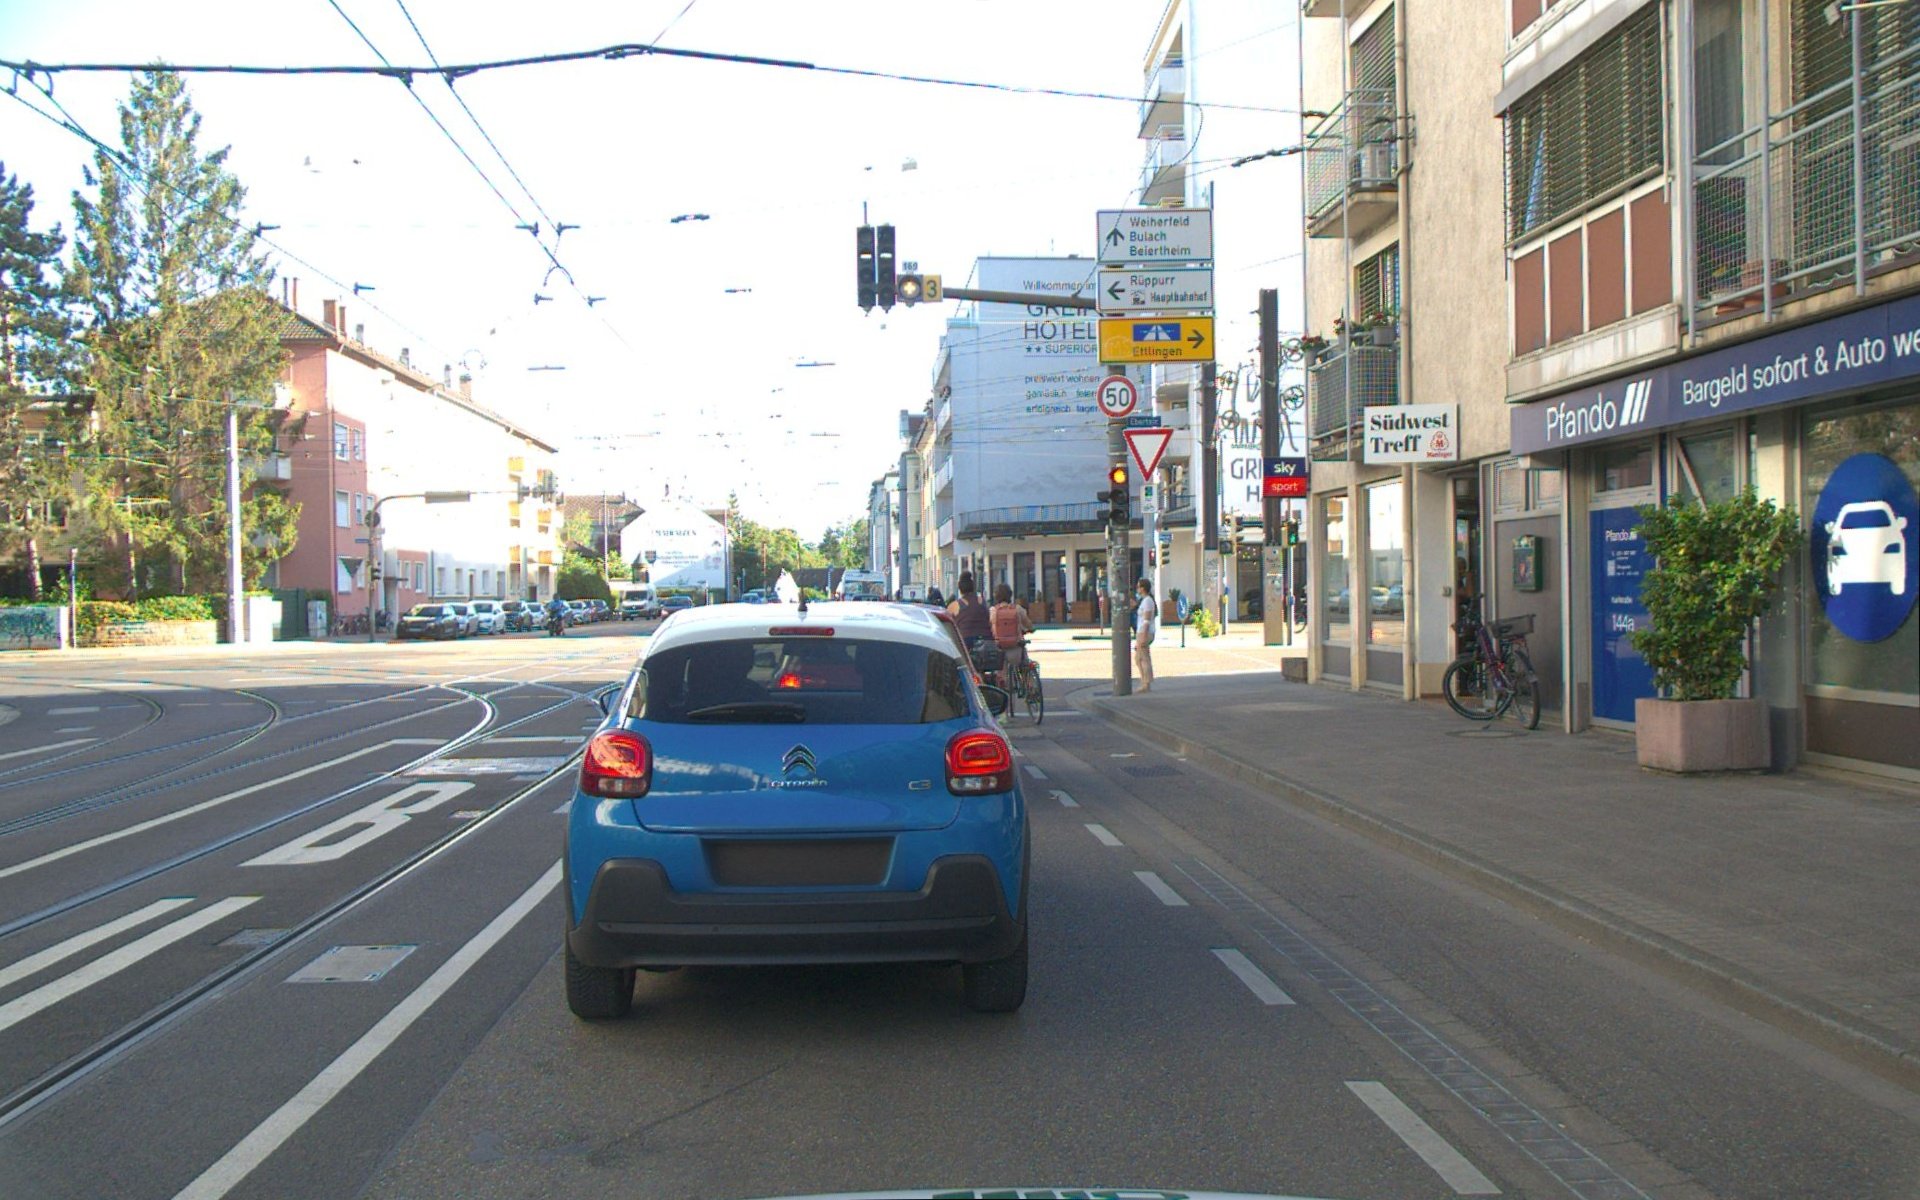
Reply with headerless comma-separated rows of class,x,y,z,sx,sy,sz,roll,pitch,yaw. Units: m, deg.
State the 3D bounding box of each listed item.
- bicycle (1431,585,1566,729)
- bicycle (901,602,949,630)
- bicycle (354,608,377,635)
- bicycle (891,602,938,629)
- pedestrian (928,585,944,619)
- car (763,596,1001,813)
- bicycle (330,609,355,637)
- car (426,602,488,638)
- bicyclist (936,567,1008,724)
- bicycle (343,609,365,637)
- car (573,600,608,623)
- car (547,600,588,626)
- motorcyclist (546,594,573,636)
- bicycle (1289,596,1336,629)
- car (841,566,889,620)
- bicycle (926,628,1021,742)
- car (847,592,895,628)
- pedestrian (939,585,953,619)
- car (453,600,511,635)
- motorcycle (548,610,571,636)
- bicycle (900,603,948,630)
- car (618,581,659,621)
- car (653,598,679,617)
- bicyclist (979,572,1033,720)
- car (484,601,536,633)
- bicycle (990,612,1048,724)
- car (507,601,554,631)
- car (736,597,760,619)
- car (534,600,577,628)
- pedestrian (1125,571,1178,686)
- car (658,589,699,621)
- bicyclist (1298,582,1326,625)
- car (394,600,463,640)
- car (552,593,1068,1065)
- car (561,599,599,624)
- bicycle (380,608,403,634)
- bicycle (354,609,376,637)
bicycle,5.109,0.506,15.806,0.627,1.286,1.910,-1,0,-1
bicycle,-1.394,0.641,65.766,1.868,1.083,0.641,-1,0,-8
bicycle,-25.874,0.926,71.975,0.527,1.101,1.908,-1,0,-7
bicycle,-1.861,0.644,68.258,1.868,1.083,0.641,-1,0,-8
pedestrian,-1.011,0.091,70.225,0.514,1.445,0.547,-1,0,19
car,-0.683,0.727,13.546,1.647,1.488,3.997,1,0,-4
bicycle,-24.983,0.918,66.980,0.628,1.101,1.905,-1,0,-11
car,-22.554,0.876,74.244,1.913,1.545,4.040,-1,0,-6
bicyclist,0.120,0.482,18.075,0.606,1.658,0.757,-1,0,-13
bicycle,-24.589,0.928,67.105,0.527,1.101,1.905,-1,0,-11
car,-25.564,0.789,114.582,1.913,1.545,3.995,-1,0,-6
car,-24.407,0.808,102.978,1.913,1.545,3.995,-1,0,-6
motorcyclist,-16.206,0.607,66.940,0.973,1.659,0.737,-1,0,-10
bicycle,12.128,0.438,56.929,1.464,1.110,0.603,-1,0,37
car,-4.231,-0.317,73.165,2.039,2.309,5.646,0,0,-4
bicycle,0.123,0.894,18.093,0.606,1.123,1.880,-1,0,-13
car,-3.677,0.385,67.727,1.752,1.383,3.909,-1,0,-6
pedestrian,-0.585,0.086,69.980,0.459,1.445,0.525,-1,0,-13
car,-22.756,0.820,78.850,1.913,1.545,3.995,-1,0,-6
motorcycle,-16.226,0.940,67.008,0.738,0.993,2.092,-1,0,-9
bicycle,-1.446,0.666,67.071,1.868,1.083,0.641,-1,0,-8
car,-23.221,0.069,119.565,2.446,2.759,5.828,-1,0,-7
car,-25.570,0.645,144.154,1.913,1.545,3.995,-1,0,-6
bicyclist,0.565,0.552,20.582,0.588,1.776,1.084,-1,0,-1
car,-23.233,0.839,85.507,1.913,1.545,3.995,-1,0,-6
bicycle,0.718,0.815,20.623,0.601,1.286,1.910,-1,0,-1
car,-23.763,0.856,91.556,1.913,1.545,3.995,-1,0,-6
car,-21.806,0.811,170.481,2.293,2.074,5.044,-1,0,-6
car,-23.933,0.823,97.981,1.913,1.545,3.995,-1,0,-6
pedestrian,2.822,0.413,24.395,0.735,1.663,0.740,-1,0,5
car,-15.481,0.245,91.237,1.967,1.656,5.045,-1,0,-7
bicyclist,12.121,0.128,56.931,0.715,1.459,0.603,-1,0,37
car,-22.015,0.790,68.639,1.913,1.545,3.995,-1,0,-6
car,-0.616,0.731,7.337,1.647,1.488,3.997,1,0,-4
car,-24.848,0.750,108.251,1.913,1.545,3.995,-1,0,-6
bicycle,-25.672,0.940,74.681,0.597,1.101,1.908,-1,0,-7
bicycle,-24.231,0.935,67.404,0.527,1.101,1.905,-1,0,-11
